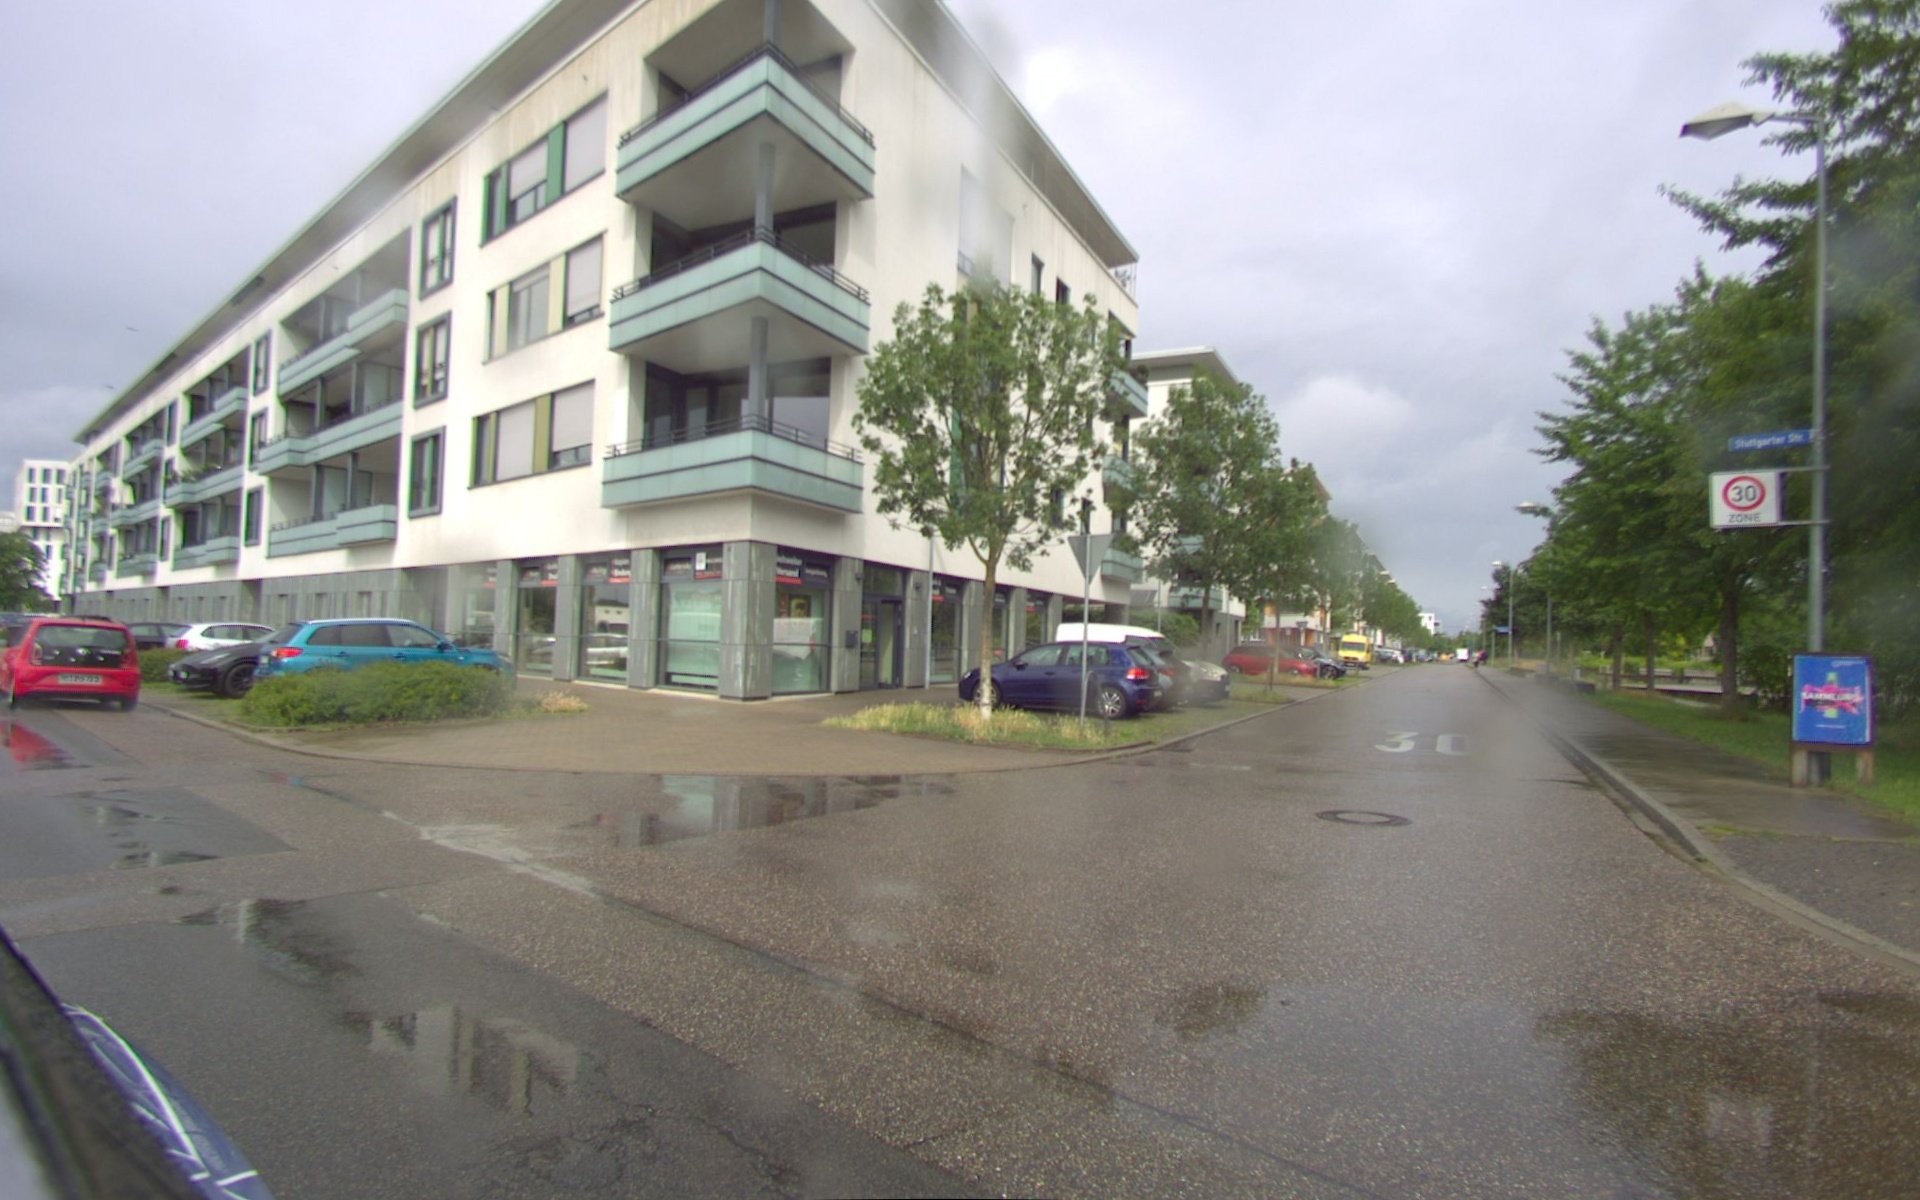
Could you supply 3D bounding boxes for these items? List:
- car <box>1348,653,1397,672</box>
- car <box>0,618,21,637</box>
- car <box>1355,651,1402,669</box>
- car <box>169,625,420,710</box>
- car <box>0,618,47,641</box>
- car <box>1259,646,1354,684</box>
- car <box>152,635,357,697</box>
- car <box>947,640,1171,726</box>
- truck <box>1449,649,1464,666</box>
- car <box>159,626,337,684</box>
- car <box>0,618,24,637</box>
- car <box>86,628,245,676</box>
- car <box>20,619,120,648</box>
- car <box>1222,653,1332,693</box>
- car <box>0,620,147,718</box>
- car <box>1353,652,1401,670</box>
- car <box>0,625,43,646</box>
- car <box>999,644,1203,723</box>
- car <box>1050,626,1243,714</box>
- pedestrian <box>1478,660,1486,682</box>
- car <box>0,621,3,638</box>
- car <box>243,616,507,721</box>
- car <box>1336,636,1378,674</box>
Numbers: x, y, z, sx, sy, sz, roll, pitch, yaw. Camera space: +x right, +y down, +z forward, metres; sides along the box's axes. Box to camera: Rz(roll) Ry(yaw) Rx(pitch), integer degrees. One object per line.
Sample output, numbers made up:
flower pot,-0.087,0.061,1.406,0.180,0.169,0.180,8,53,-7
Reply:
car,38.584,5.800,94.666,4.162,1.547,1.629,1,-1,26
car,-72.792,2.073,75.592,1.744,1.381,3.748,0,-1,42
car,40.942,5.822,98.977,4.162,1.547,1.629,1,-1,26
car,-14.032,1.339,21.501,1.859,1.561,4.128,0,-1,42
car,-57.993,1.800,61.396,1.744,1.381,3.748,0,-1,42
car,16.577,3.089,48.454,4.162,1.547,1.629,1,-1,26
car,-15.865,1.433,22.883,1.539,1.192,3.566,0,-1,42
car,1.964,1.587,20.272,4.165,1.407,1.629,1,-1,26
truck,79.484,9.230,162.115,1.966,2.371,6.400,0,-1,25
car,-19.088,1.434,27.235,1.685,1.388,3.620,-2,-2,40
car,-70.983,2.000,73.920,1.744,1.381,3.748,0,-1,42
car,-24.764,1.584,31.634,1.645,1.383,3.690,0,-2,43
car,-46.264,1.722,52.670,1.744,1.381,3.748,0,-1,42
car,13.168,2.993,42.088,4.162,1.407,1.629,1,-1,26
car,-15.083,1.106,17.015,3.388,1.479,1.639,-1,-4,42
car,39.827,5.818,96.745,4.162,1.547,1.629,1,-1,26
car,-63.526,2.352,67.234,1.744,1.381,3.748,0,-1,42
car,3.072,1.764,22.153,4.106,1.407,1.674,1,-1,25
car,4.516,1.628,24.562,4.326,1.849,1.629,1,-1,26
pedestrian,39.705,5.397,76.986,0.509,1.676,0.490,0,-3,28
car,-82.087,2.456,83.953,1.744,1.381,3.748,0,-1,42
car,-10.346,1.113,18.072,1.756,1.646,3.767,-1,-1,45
car,29.834,4.089,75.994,1.959,2.633,6.573,1,-1,30
